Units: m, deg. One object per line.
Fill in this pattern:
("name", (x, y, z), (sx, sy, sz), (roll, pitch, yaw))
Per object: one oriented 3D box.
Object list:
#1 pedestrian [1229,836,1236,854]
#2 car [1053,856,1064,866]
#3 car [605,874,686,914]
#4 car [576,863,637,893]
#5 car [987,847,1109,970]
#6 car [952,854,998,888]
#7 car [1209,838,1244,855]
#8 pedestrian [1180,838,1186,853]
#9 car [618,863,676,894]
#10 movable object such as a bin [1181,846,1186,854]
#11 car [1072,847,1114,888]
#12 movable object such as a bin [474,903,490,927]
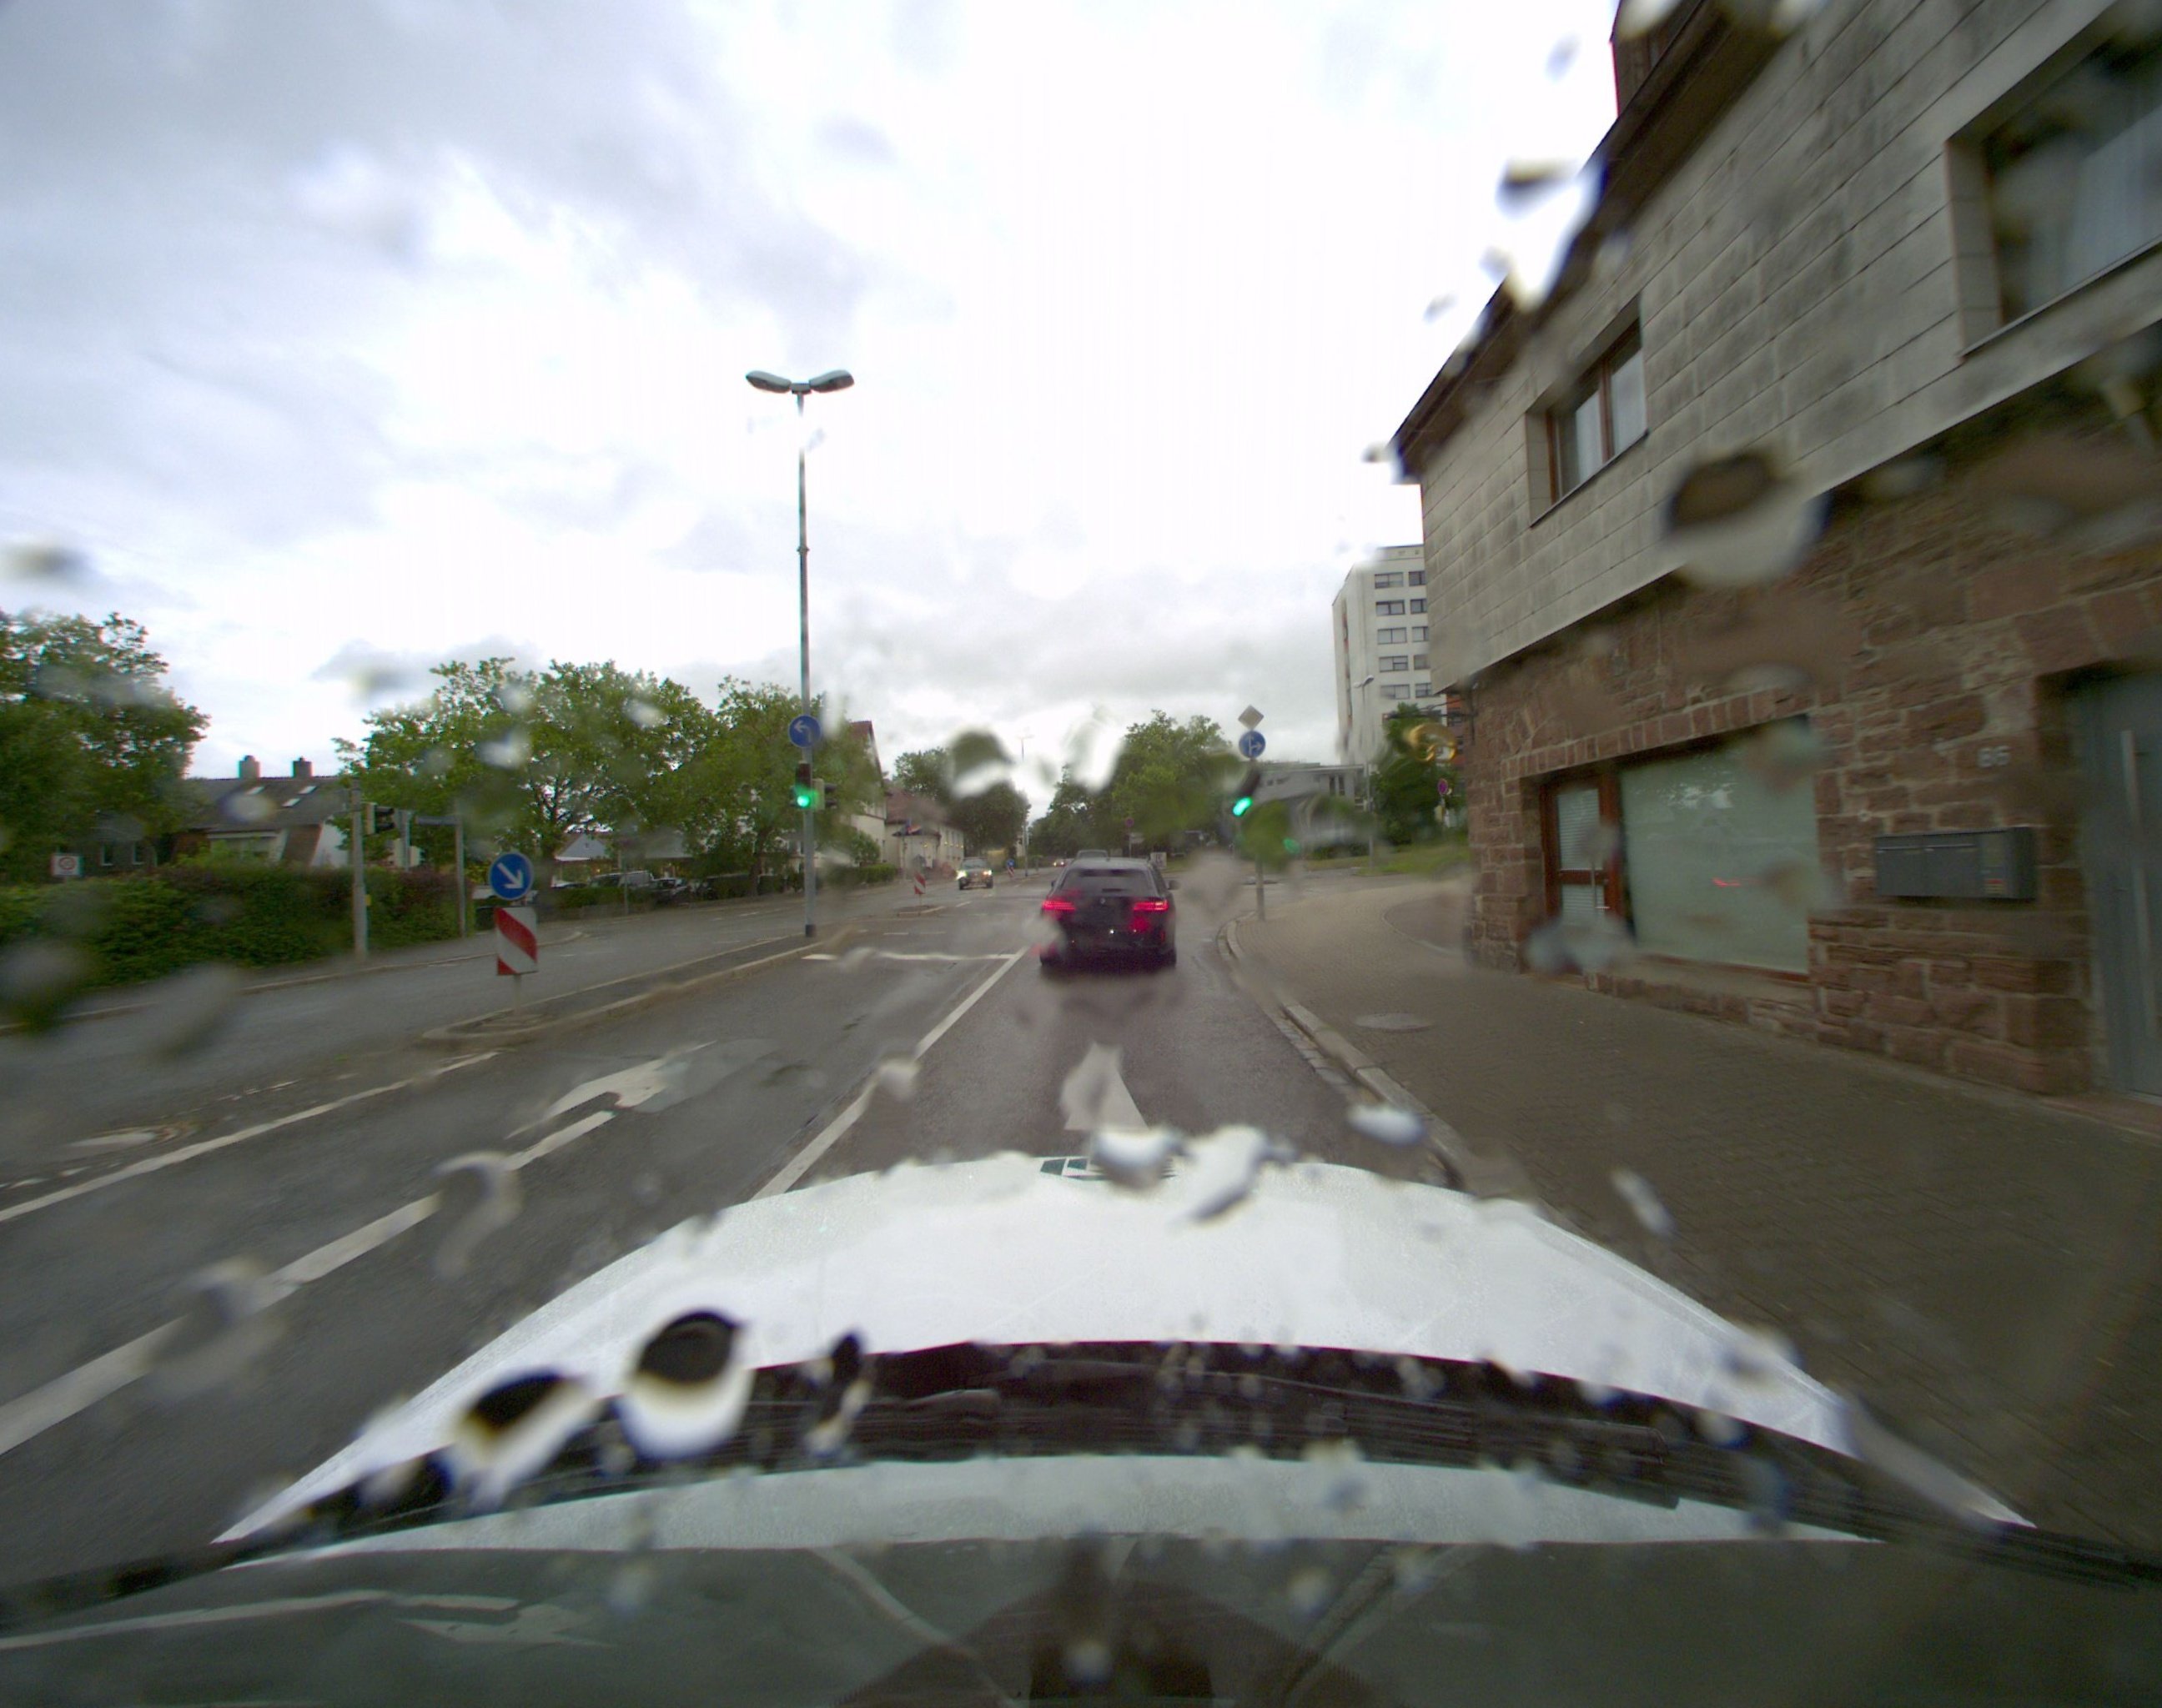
("pedestrian", (13.473, -0.795, 72.393), (0.597, 1.617, 0.527), (-1, -1, 8))
("car", (-3.886, 1.218, 141.768), (1.787, 1.527, 4.208), (-2, 1, 0))
("car", (-21.501, 1.949, 40.421), (1.803, 1.551, 4.001), (0, 3, 0))
("car", (-32.766, 1.612, 56.387), (1.988, 2.014, 3.996), (0, -1, -2))
("car", (-0.448, 0.705, 12.019), (1.519, 1.534, 3.530), (0, -1, -1))
("car", (-5.566, 0.846, 43.381), (1.893, 1.577, 4.500), (-2, 1, -1))
("car", (16.812, -0.854, 94.030), (3.963, 1.816, 2.005), (-1, -1, 9))
("pedestrian", (12.690, -1.040, 101.289), (0.556, 1.763, 0.727), (0, -1, -3))
("car", (-30.072, 1.657, 56.617), (1.988, 2.014, 3.996), (0, -1, -2))
("movable object such as a bin", (12.274, -0.453, 97.680), (0.446, 0.906, 0.465), (-1, -1, 17))
("car", (0.489, 0.613, 37.436), (1.807, 1.809, 3.754), (0, -1, -1))
("movable object such as a bin", (-26.981, 2.755, 36.688), (0.446, 1.043, 0.413), (-1, -1, 17))
